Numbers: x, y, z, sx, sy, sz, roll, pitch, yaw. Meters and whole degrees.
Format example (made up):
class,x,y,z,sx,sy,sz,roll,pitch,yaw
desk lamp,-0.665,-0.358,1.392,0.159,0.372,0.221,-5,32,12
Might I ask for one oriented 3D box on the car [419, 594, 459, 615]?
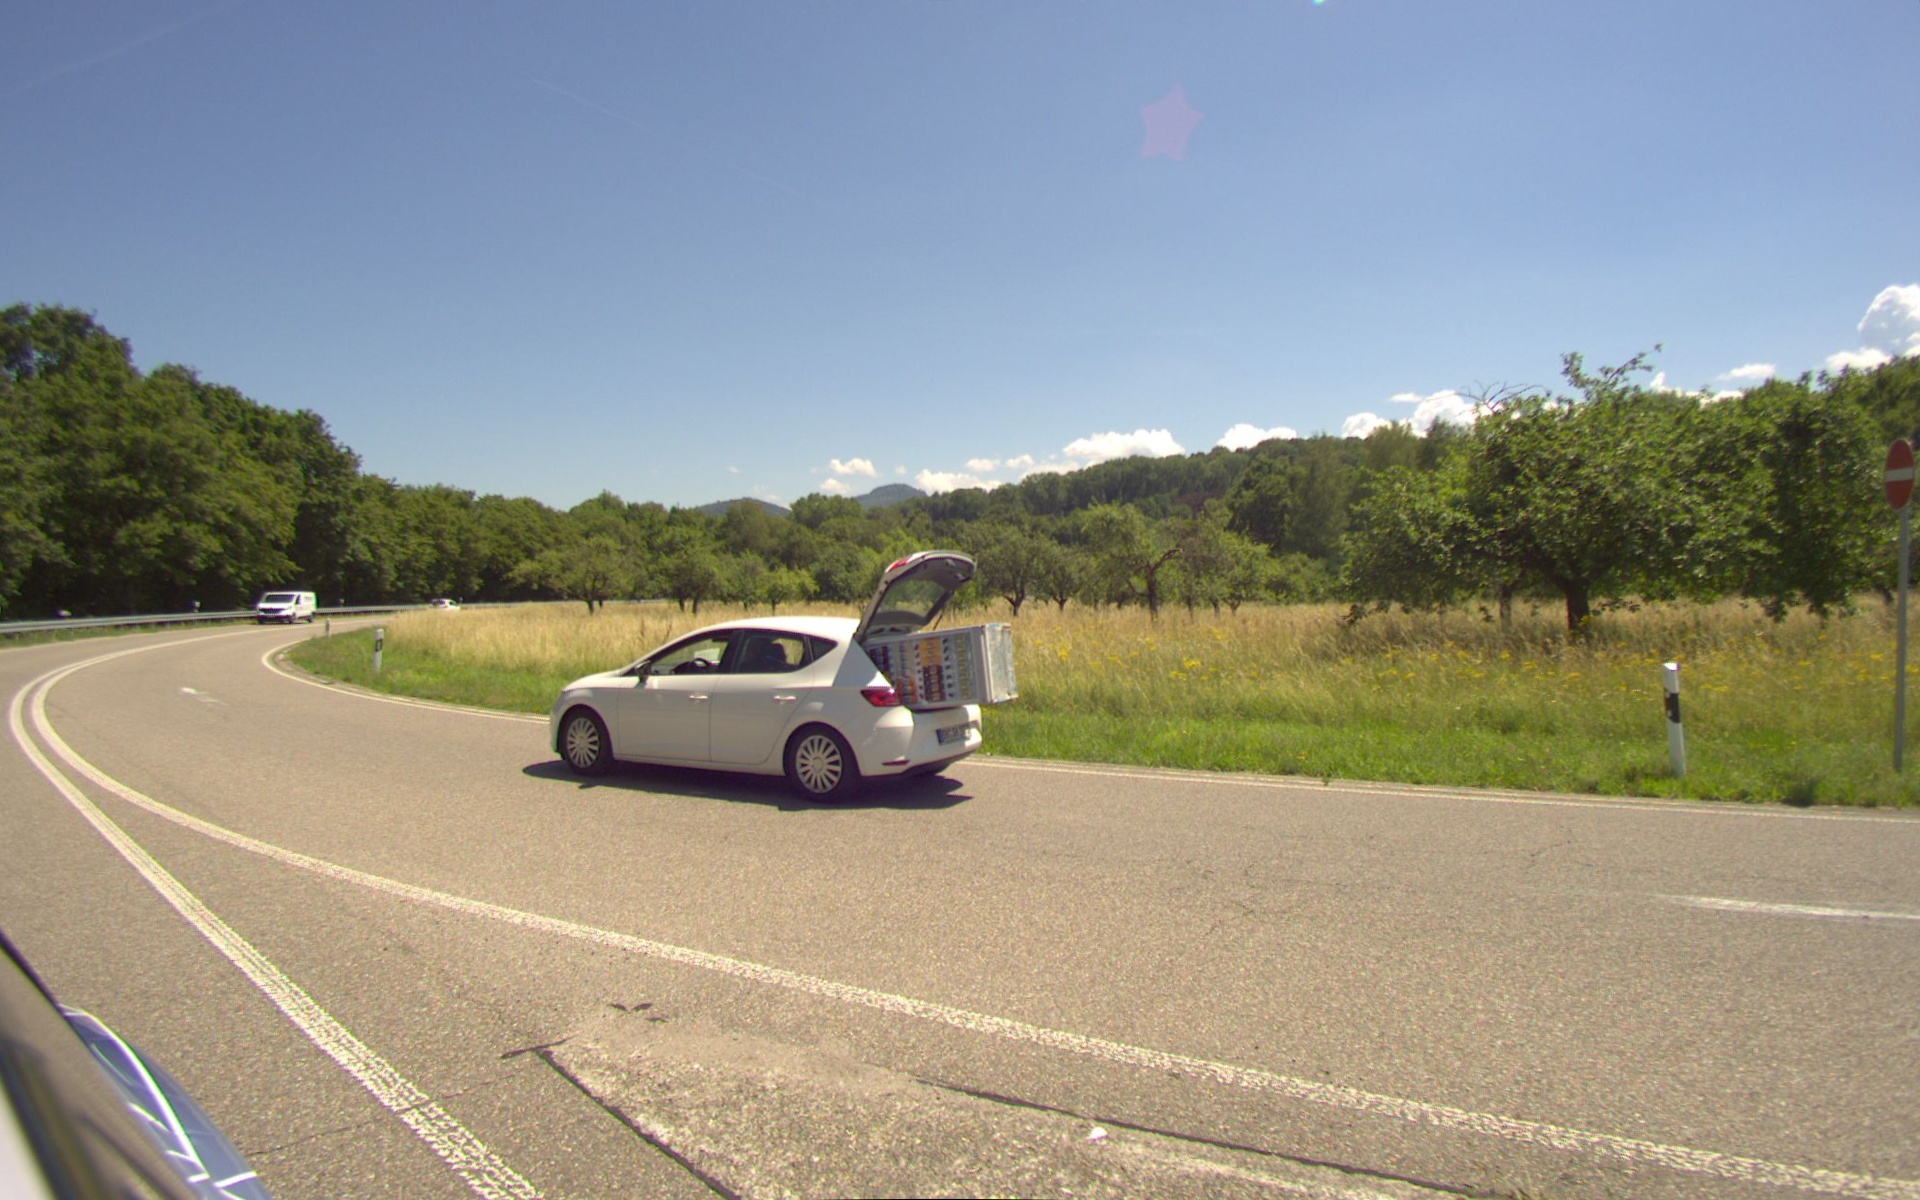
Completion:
class,x,y,z,sx,sy,sz,roll,pitch,yaw
car,-43.496,0.370,84.616,1.798,1.518,4.182,2,1,-11

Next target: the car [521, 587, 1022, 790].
class,x,y,z,sx,sy,sz,roll,pitch,yaw
car,-1.701,0.662,8.957,4.127,1.435,1.835,0,-1,28

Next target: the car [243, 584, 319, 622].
class,x,y,z,sx,sy,sz,roll,pitch,yaw
car,-42.430,0.130,63.384,2.189,2.048,5.443,4,1,-14

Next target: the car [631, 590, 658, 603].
class,x,y,z,sx,sy,sz,roll,pitch,yaw
car,-41.088,-0.504,131.863,1.805,1.469,4.395,4,1,4
